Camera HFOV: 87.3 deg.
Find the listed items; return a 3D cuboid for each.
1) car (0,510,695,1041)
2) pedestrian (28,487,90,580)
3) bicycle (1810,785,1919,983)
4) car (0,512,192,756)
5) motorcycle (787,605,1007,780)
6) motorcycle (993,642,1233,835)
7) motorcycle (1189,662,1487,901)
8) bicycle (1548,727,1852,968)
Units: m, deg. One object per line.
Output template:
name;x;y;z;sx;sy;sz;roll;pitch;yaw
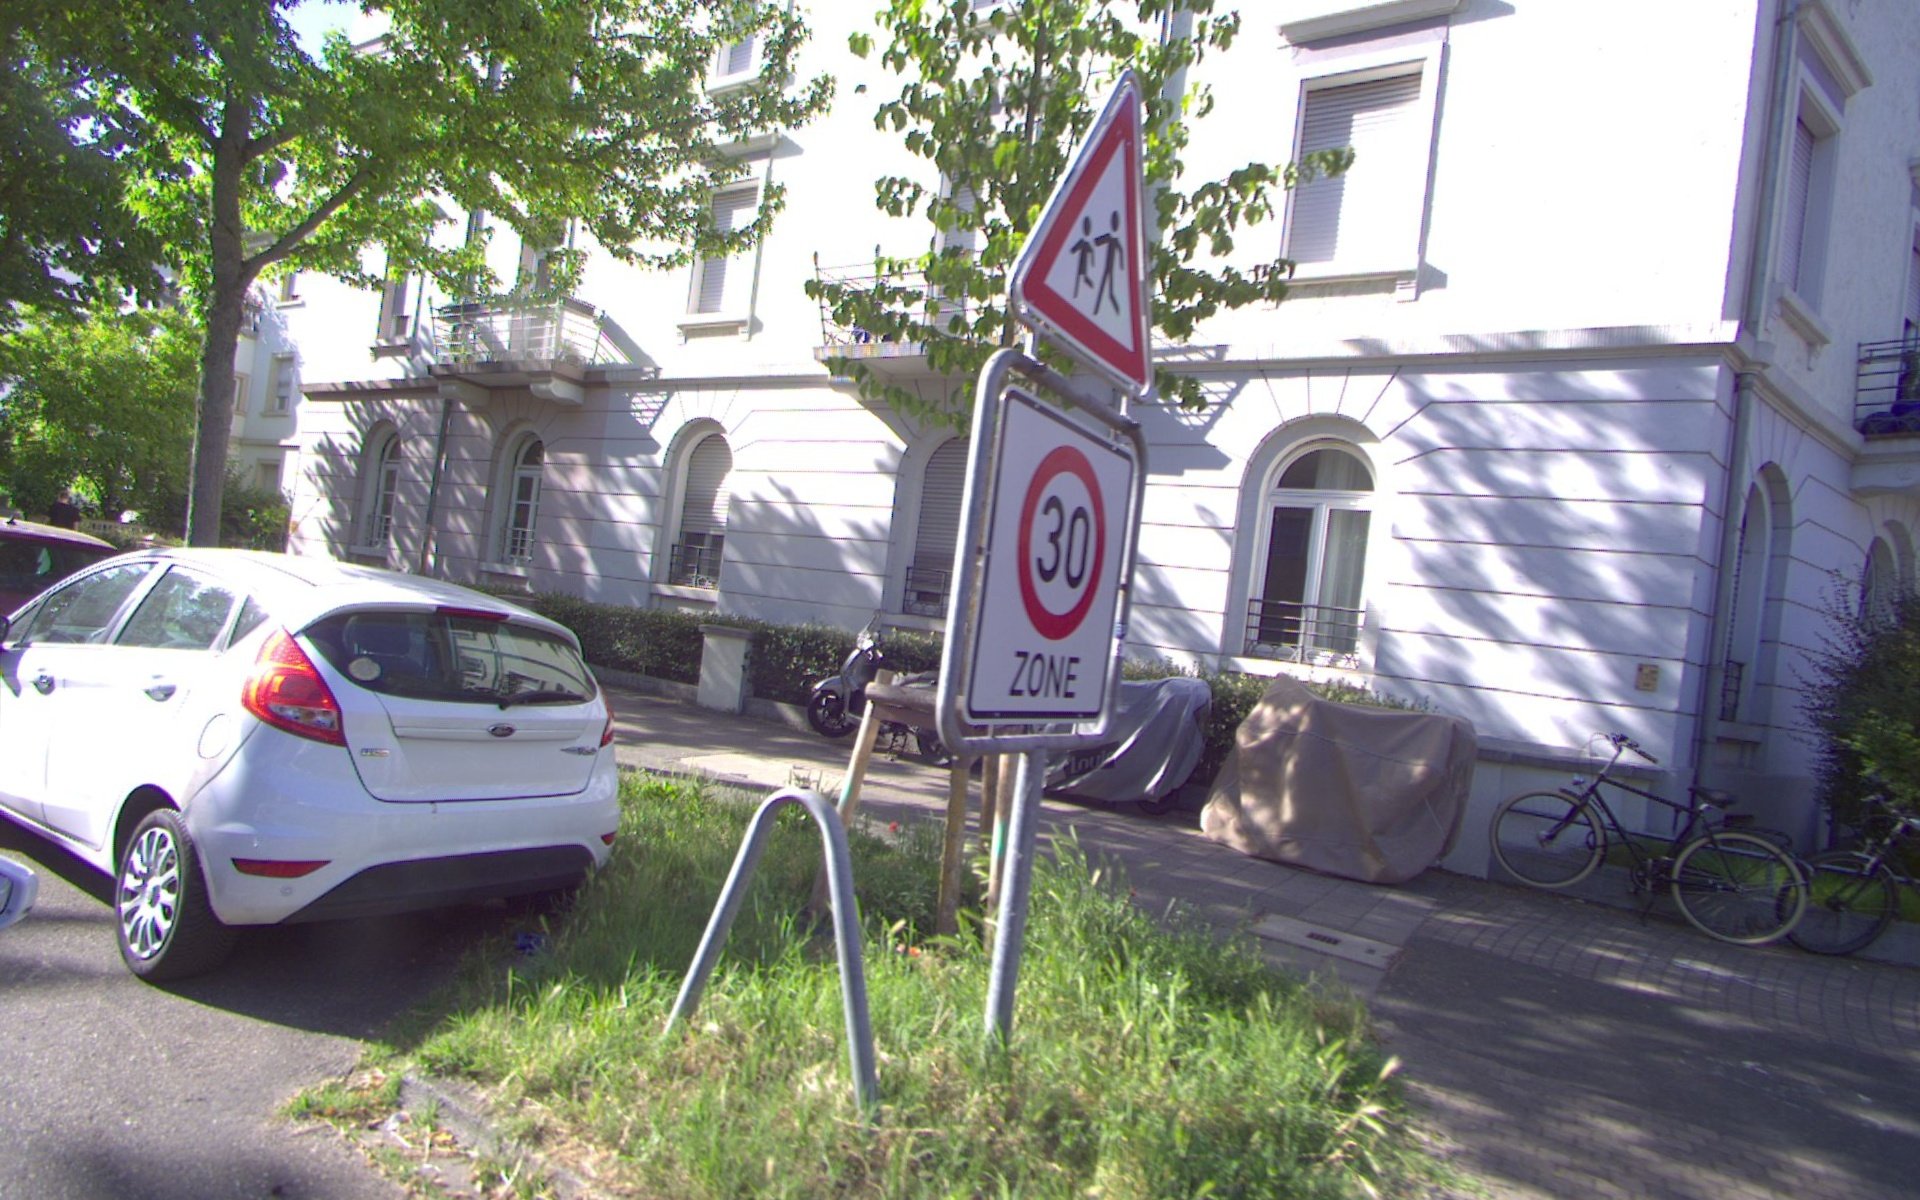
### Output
car;-3.361;0.447;4.667;4.067;1.418;1.656;6;-1;31
pedestrian;-18.421;-1.355;20.574;0.786;1.796;0.623;7;0;32
bicycle;6.334;1.840;6.262;1.541;1.117;0.352;6;-1;10
car;-7.469;0.009;7.033;4.276;1.426;1.615;7;-1;28
motorcycle;-0.644;0.856;9.779;2.055;1.377;0.540;6;-1;32
motorcycle;1.285;1.114;8.509;1.768;1.296;0.658;7;1;26
motorcycle;2.791;1.261;7.457;1.820;1.344;0.973;6;-1;27
bicycle;4.803;1.574;6.623;1.477;1.253;0.326;6;-1;25
